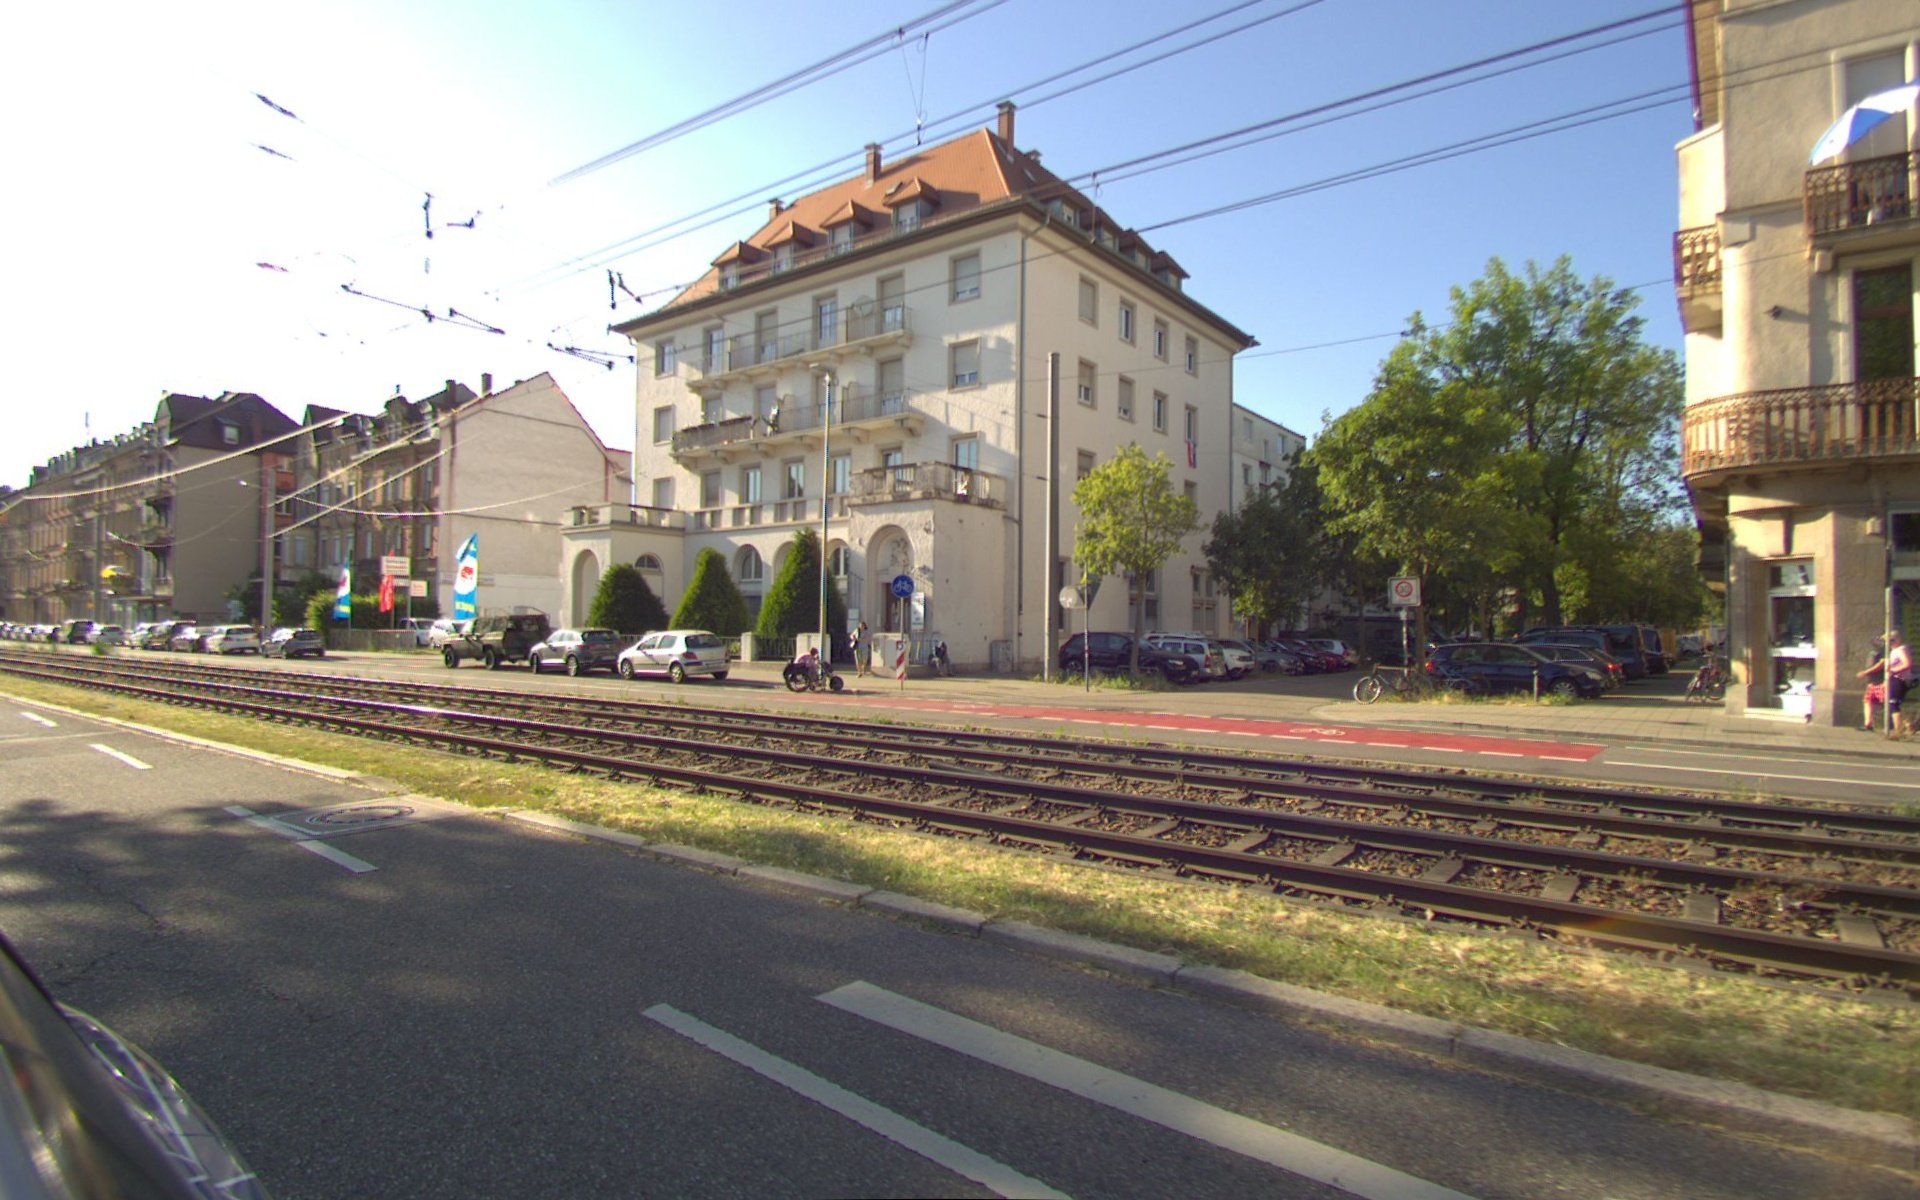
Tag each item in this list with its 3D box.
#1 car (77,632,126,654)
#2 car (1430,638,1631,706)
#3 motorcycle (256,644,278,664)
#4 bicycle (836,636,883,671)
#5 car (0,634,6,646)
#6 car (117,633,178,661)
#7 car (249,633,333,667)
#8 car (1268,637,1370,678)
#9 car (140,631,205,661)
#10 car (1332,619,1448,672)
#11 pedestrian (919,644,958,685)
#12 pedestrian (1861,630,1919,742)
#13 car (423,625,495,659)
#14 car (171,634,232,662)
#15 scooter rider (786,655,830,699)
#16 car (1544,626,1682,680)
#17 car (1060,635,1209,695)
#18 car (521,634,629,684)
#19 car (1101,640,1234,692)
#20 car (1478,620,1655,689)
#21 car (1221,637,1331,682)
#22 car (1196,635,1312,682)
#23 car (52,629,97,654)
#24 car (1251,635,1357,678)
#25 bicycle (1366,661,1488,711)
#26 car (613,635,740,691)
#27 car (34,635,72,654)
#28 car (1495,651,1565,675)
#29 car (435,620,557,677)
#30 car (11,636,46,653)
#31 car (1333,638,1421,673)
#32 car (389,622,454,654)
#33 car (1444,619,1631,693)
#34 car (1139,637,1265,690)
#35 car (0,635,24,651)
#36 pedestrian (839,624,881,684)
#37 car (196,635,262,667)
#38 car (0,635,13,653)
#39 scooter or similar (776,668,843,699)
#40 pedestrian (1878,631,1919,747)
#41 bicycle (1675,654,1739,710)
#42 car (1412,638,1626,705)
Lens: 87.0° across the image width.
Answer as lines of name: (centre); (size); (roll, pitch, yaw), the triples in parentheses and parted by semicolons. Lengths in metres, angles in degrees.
car: (-63.550, 3.169, 74.920); (4.621, 1.550, 1.902); (-1, -2, 39)
car: (14.136, 1.740, 25.248); (4.230, 1.475, 1.760); (0, -1, 31)
motorcycle: (-36.597, 2.835, 53.427); (0.815, 0.961, 2.156); (0, -1, -38)
bicycle: (-3.383, 1.781, 33.887); (1.619, 1.096, 0.460); (0, -1, 31)
car: (-123.714, 5.100, 128.101); (3.932, 1.522, 1.805); (0, -1, -31)
car: (-53.341, 3.103, 66.405); (4.616, 1.696, 1.904); (-4, -4, 35)
car: (-33.206, 2.450, 50.188); (4.833, 1.471, 1.903); (-2, 2, 37)
car: (16.307, 2.596, 46.021); (3.994, 1.671, 1.777); (0, -3, 38)
car: (-49.444, 2.890, 63.515); (4.486, 1.794, 1.904); (-2, -2, 34)
car: (23.682, 2.484, 55.827); (5.586, 2.705, 2.251); (0, -3, 35)
pedestrian: (-0.651, 1.986, 31.317); (0.892, 1.196, 0.870); (0, -1, 30)
pedestrian: (14.870, 1.340, 16.030); (0.857, 1.709, 0.583); (-1, -1, 40)
car: (-27.210, 2.274, 54.909); (4.561, 1.668, 1.883); (0, -3, 42)
car: (-44.706, 2.783, 59.621); (4.839, 1.573, 1.901); (-2, -2, 41)
scooter rider: (-3.914, 1.968, 26.026); (0.962, 1.097, 0.810); (2, -4, -21)
car: (27.930, 2.239, 43.350); (4.887, 2.056, 2.040); (0, -3, 36)
car: (5.446, 1.990, 31.789); (4.256, 1.653, 1.777); (0, -3, 38)
car: (-13.024, 1.940, 34.158); (4.156, 1.519, 1.618); (-1, -1, 40)
car: (6.929, 2.190, 33.965); (3.994, 1.522, 1.777); (0, -3, 38)
car: (20.111, 1.776, 33.652); (4.887, 2.056, 2.040); (0, -3, 36)
car: (13.053, 2.433, 41.876); (3.994, 1.671, 1.777); (0, -3, 38)
car: (11.489, 2.268, 39.693); (3.994, 1.671, 1.777); (0, -3, 38)
car: (-68.839, 3.202, 78.657); (4.720, 1.821, 1.644); (-1, -2, 37)
car: (14.957, 2.453, 44.111); (3.994, 1.671, 1.777); (0, -3, 38)
bicycle: (10.609, 1.930, 23.058); (2.411, 1.023, 0.677); (-2, -2, 41)
car: (-8.646, 1.868, 30.773); (3.996, 1.522, 1.776); (-1, -1, 40)
car: (-73.453, 3.571, 81.922); (3.975, 1.457, 1.643); (-1, -2, 38)
car: (40.426, 4.474, 71.896); (1.769, 1.522, 4.013); (3, -2, -28)
car: (-17.684, 1.788, 38.425); (5.587, 2.025, 2.056); (-2, -1, 40)
car: (-81.602, 3.862, 88.661); (3.975, 1.457, 1.643); (-1, -2, 38)
car: (22.072, 2.938, 53.664); (3.994, 1.671, 1.777); (0, -3, 38)
car: (-31.487, 2.230, 59.135); (4.561, 1.668, 1.883); (0, -3, 42)
car: (17.991, 1.694, 31.622); (4.887, 2.056, 2.040); (0, -3, 36)
car: (8.579, 2.232, 36.000); (3.994, 1.671, 1.777); (0, -3, 38)
car: (-89.350, 4.051, 94.958); (3.760, 1.457, 1.643); (-1, -2, 38)
pedestrian: (-3.056, 1.635, 30.897); (0.929, 1.791, 0.987); (0, -1, 24)
car: (-40.471, 2.791, 56.010); (4.839, 1.707, 1.901); (-2, -2, 41)
car: (-93.126, 4.276, 97.895); (4.627, 1.655, 1.776); (-2, -2, 41)
scooter or similar: (-3.879, 2.149, 26.033); (1.542, 0.776, 0.810); (2, -4, -21)
pedestrian: (14.491, 1.333, 15.297); (0.857, 1.709, 0.583); (-1, -1, 40)
bicycle: (16.778, 1.810, 22.700); (0.753, 1.170, 2.848); (-2, -4, 45)
car: (15.262, 1.903, 27.740); (4.890, 1.522, 2.039); (0, -3, 38)
